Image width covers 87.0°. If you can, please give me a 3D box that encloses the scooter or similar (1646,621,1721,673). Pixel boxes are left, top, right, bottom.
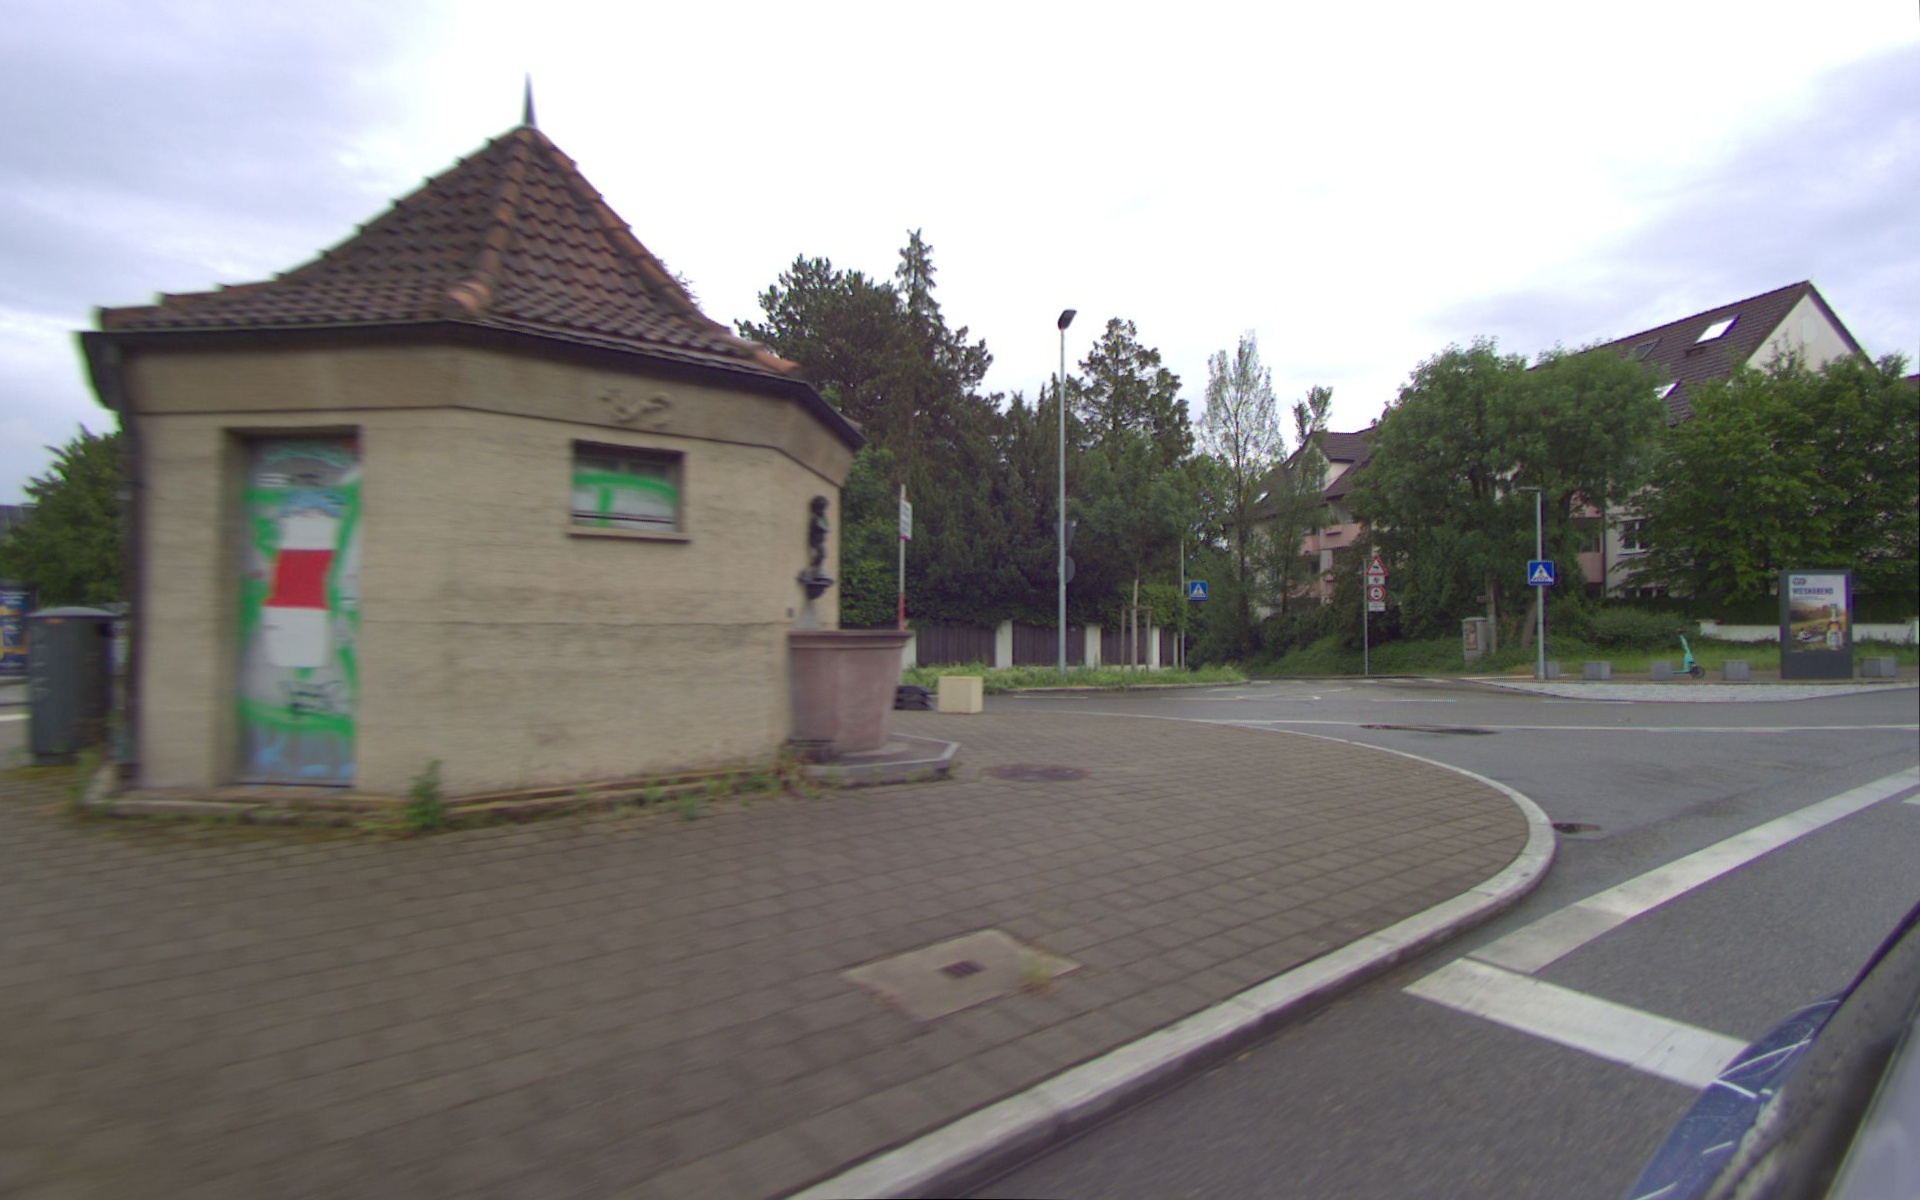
[{"bbox_3d":[17.723,1.167,24.817,0.514,1.223,1.353,0,-4,-28],"label":"scooter or similar"}]
